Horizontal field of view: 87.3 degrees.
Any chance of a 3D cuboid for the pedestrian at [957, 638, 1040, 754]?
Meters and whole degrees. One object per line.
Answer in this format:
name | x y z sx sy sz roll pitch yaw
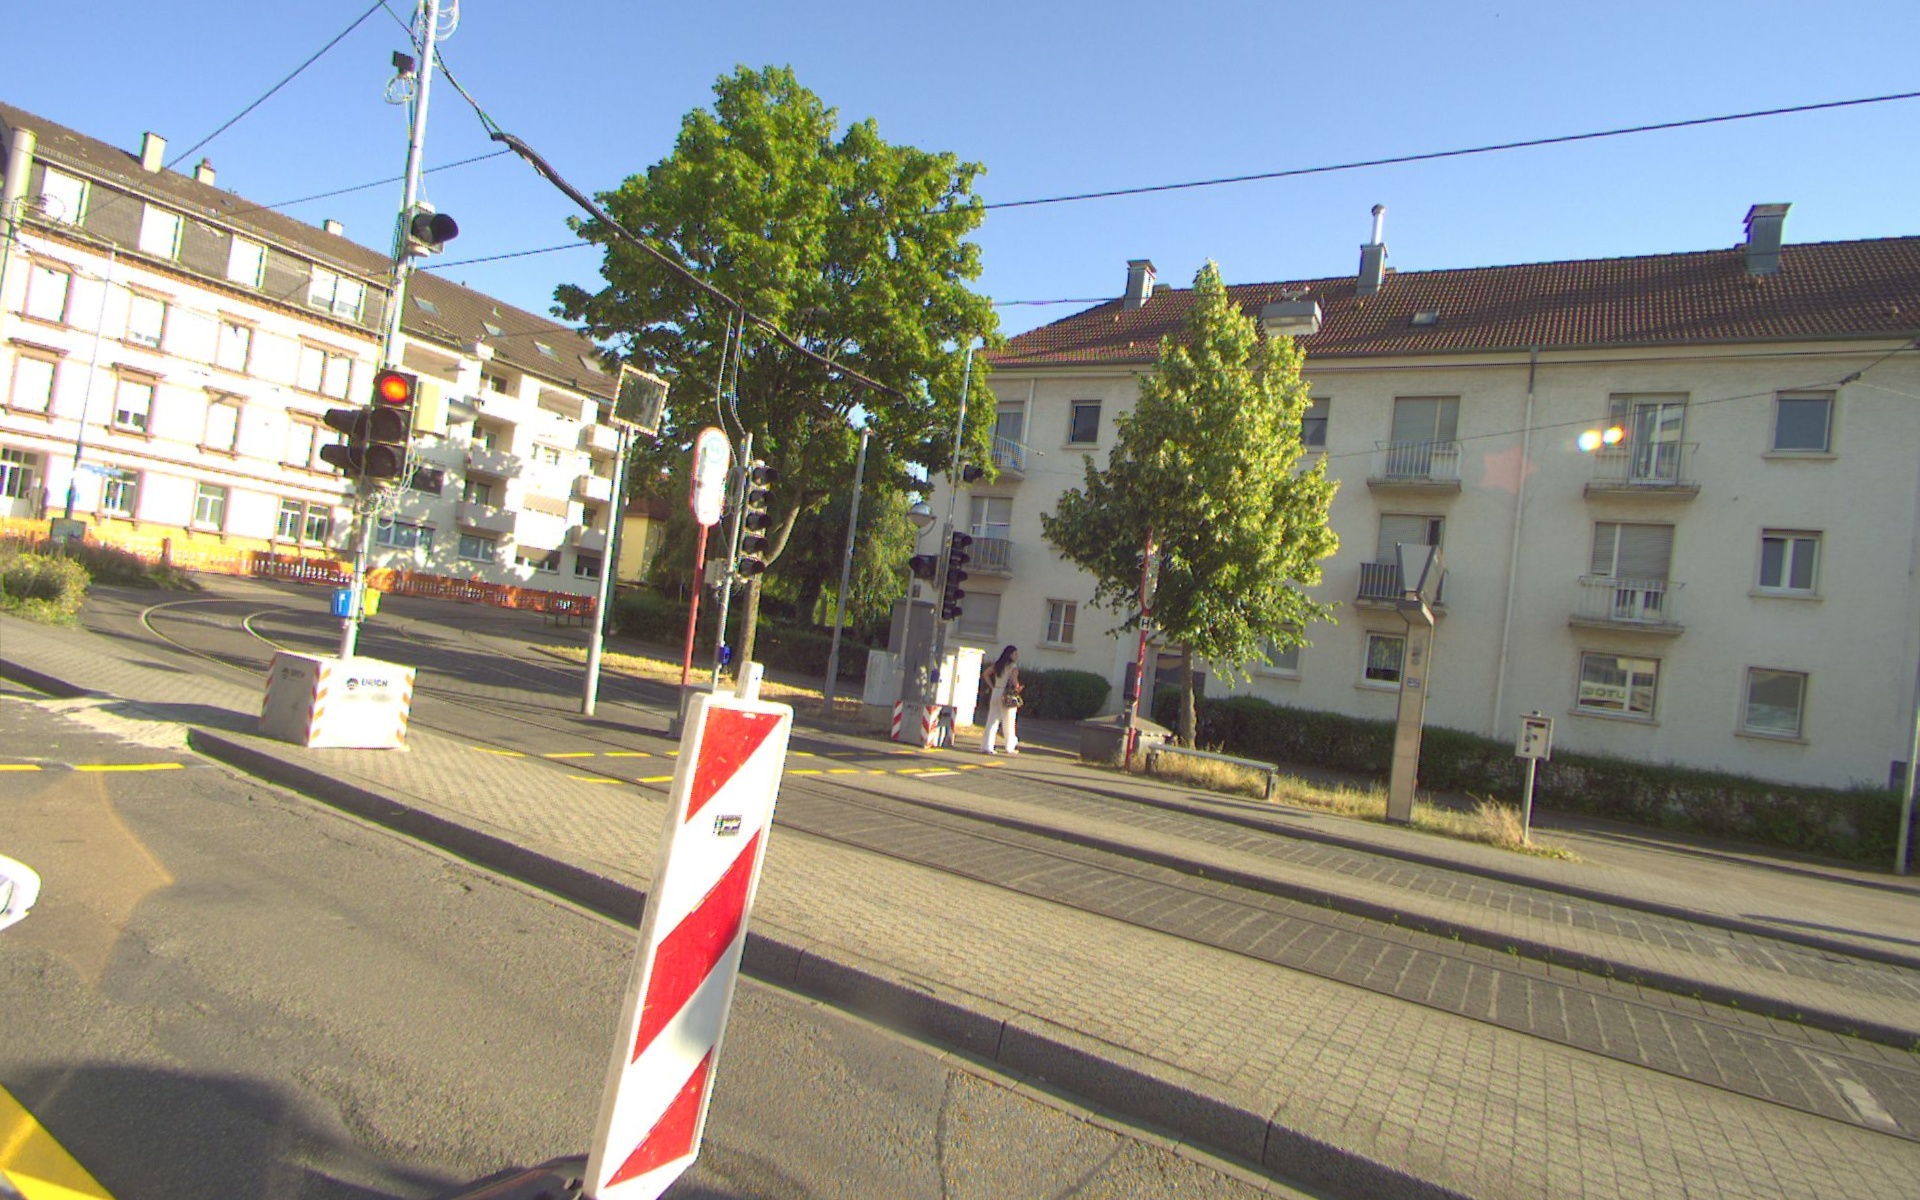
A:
pedestrian | 0.592 1.467 15.399 0.813 1.639 0.790 6 -1 31
